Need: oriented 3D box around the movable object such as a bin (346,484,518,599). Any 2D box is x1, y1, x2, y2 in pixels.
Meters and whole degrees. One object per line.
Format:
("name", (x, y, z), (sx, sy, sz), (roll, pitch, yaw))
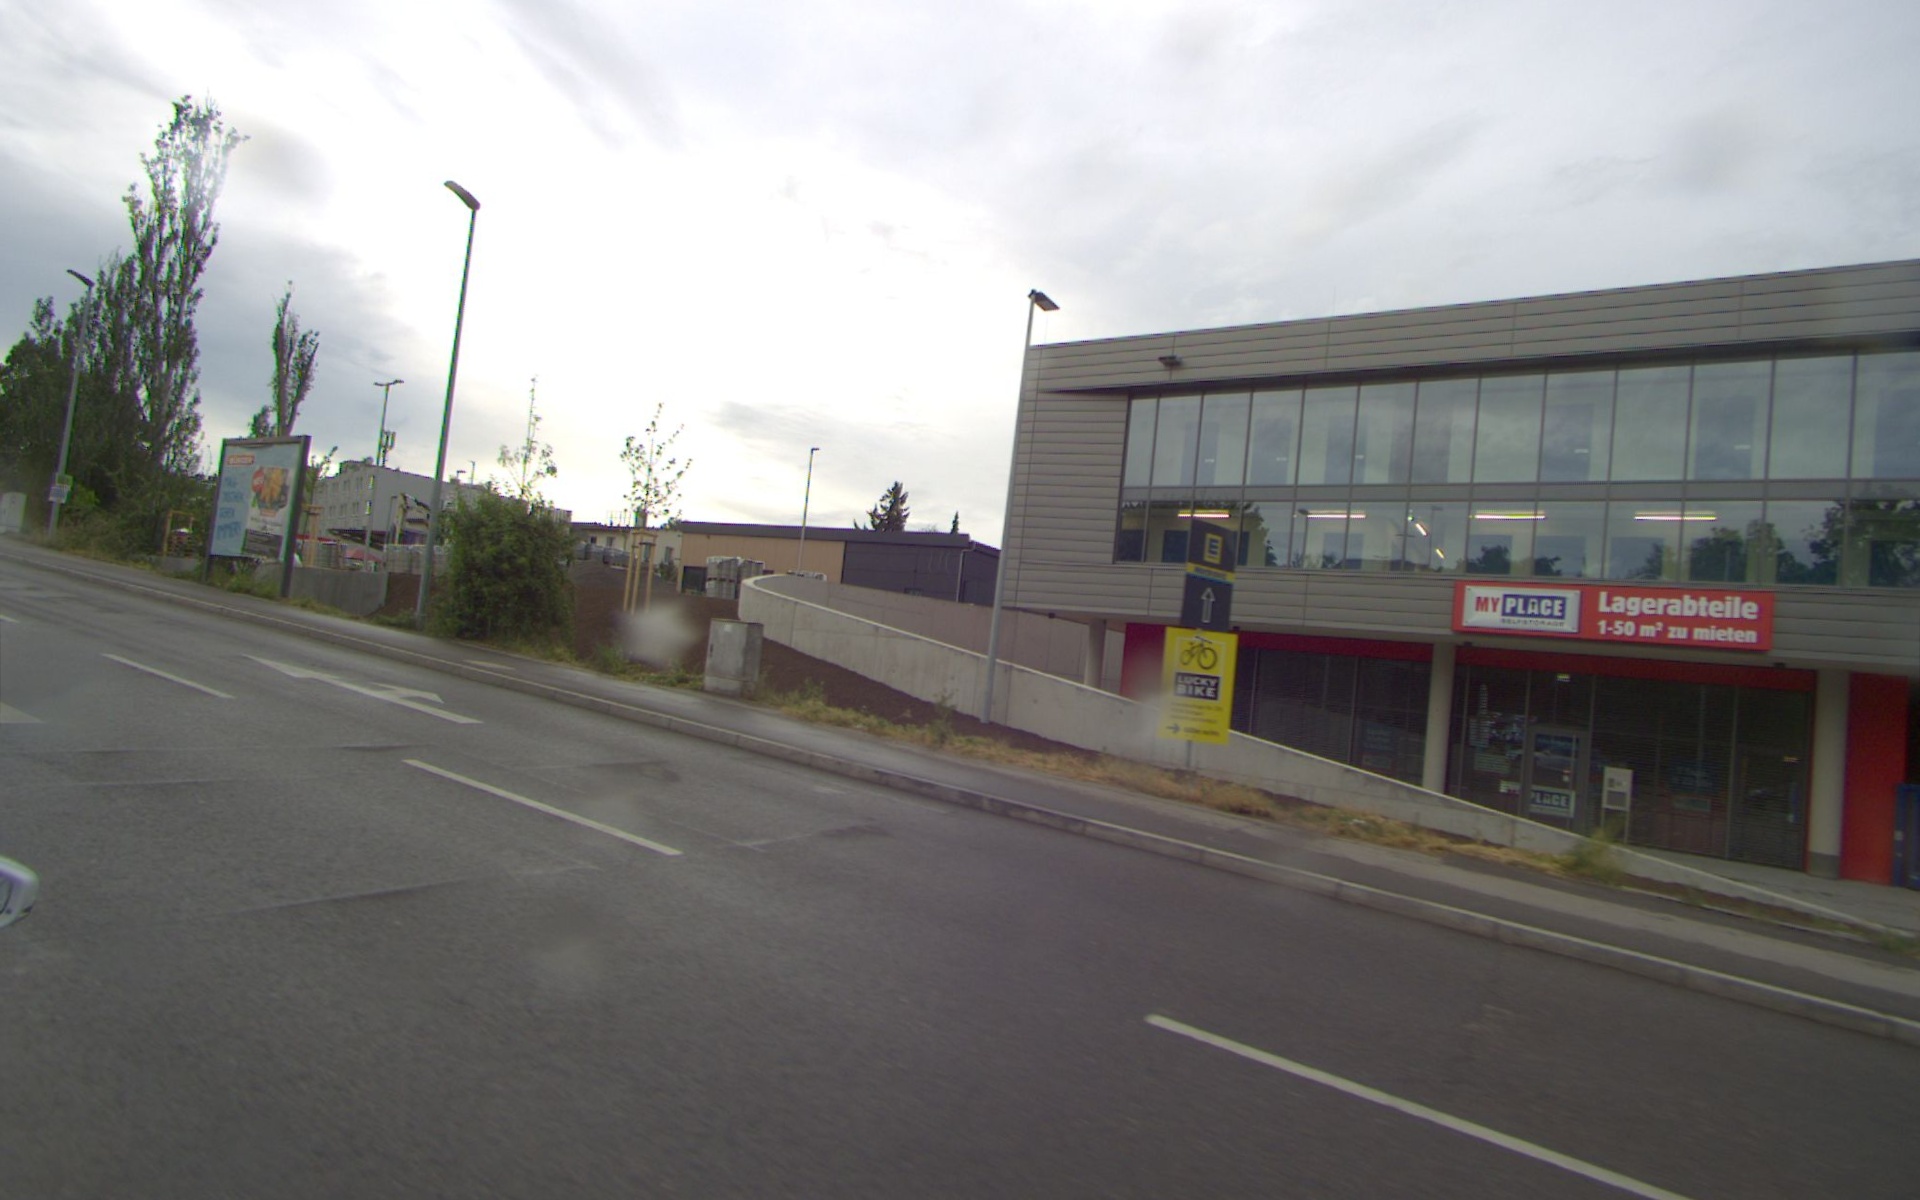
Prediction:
("movable object such as a bin", (-19.002, -2.107, 36.206), (5.327, 3.312, 2.311), (8, -2, 25))
